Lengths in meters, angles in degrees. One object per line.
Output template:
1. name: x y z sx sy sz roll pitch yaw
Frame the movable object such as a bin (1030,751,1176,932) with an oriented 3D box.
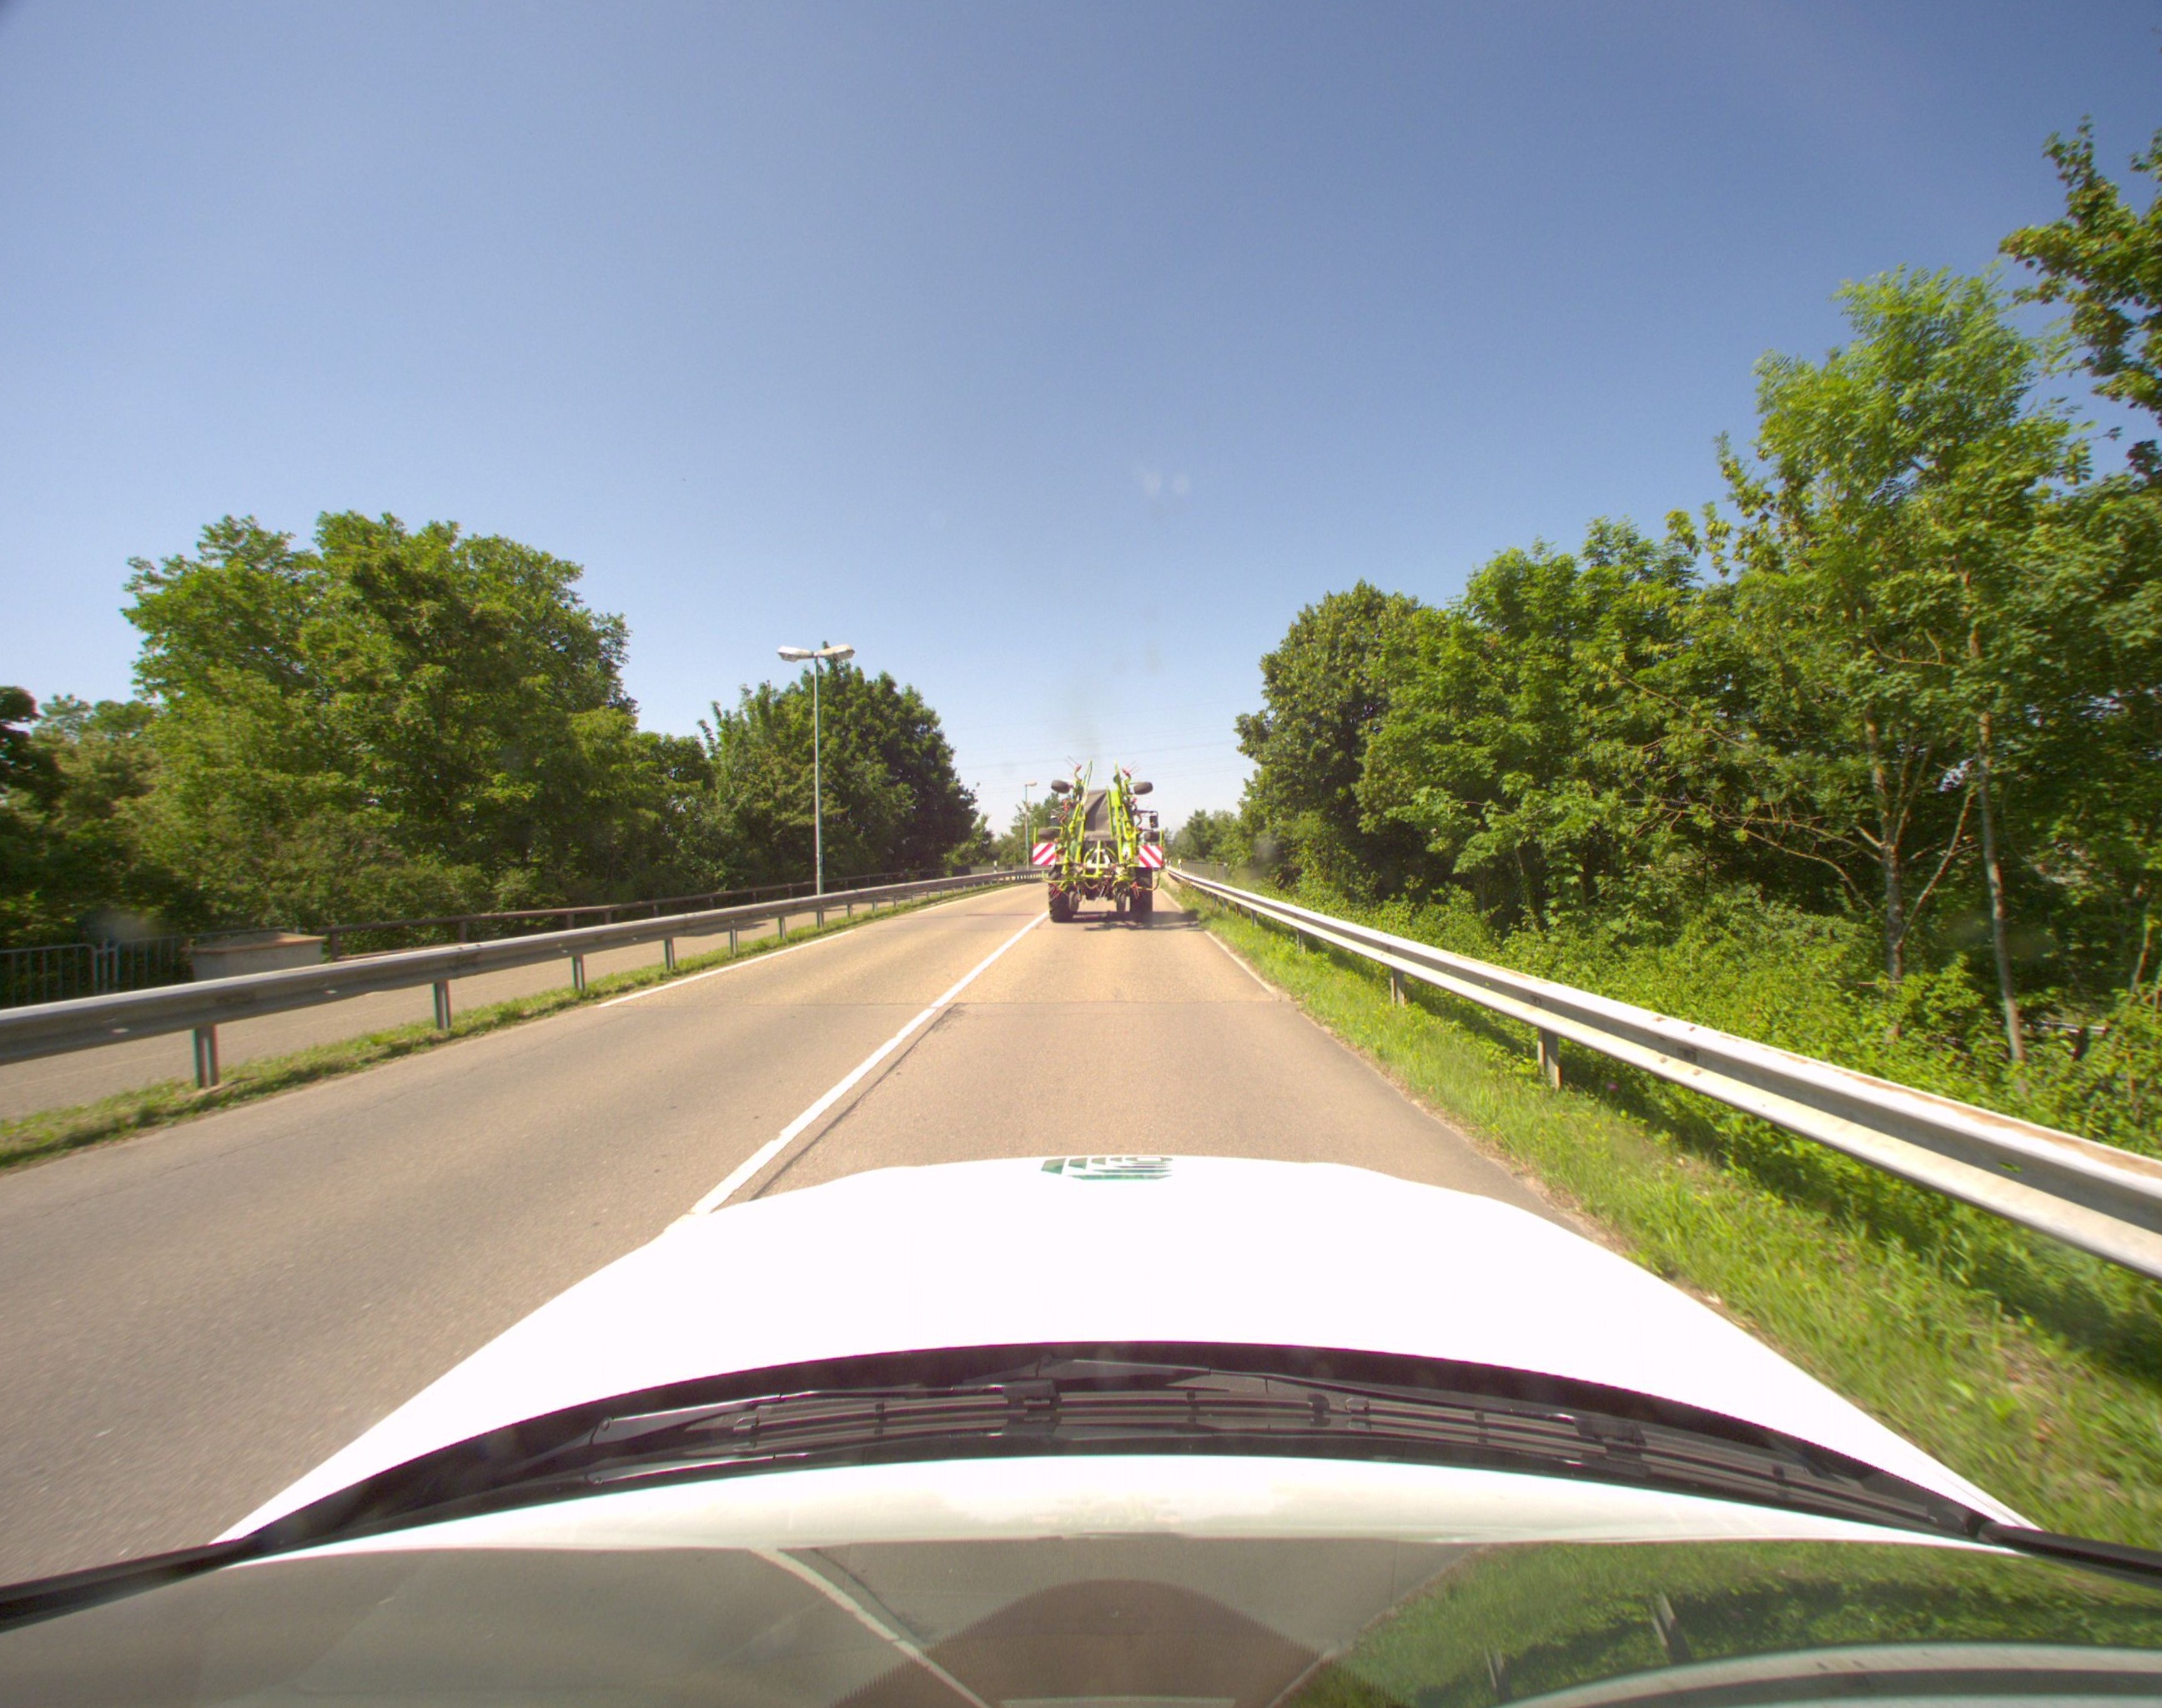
1. movable object such as a bin: 0.489 -0.245 18.482 2.745 3.444 5.671 -1 0 1
